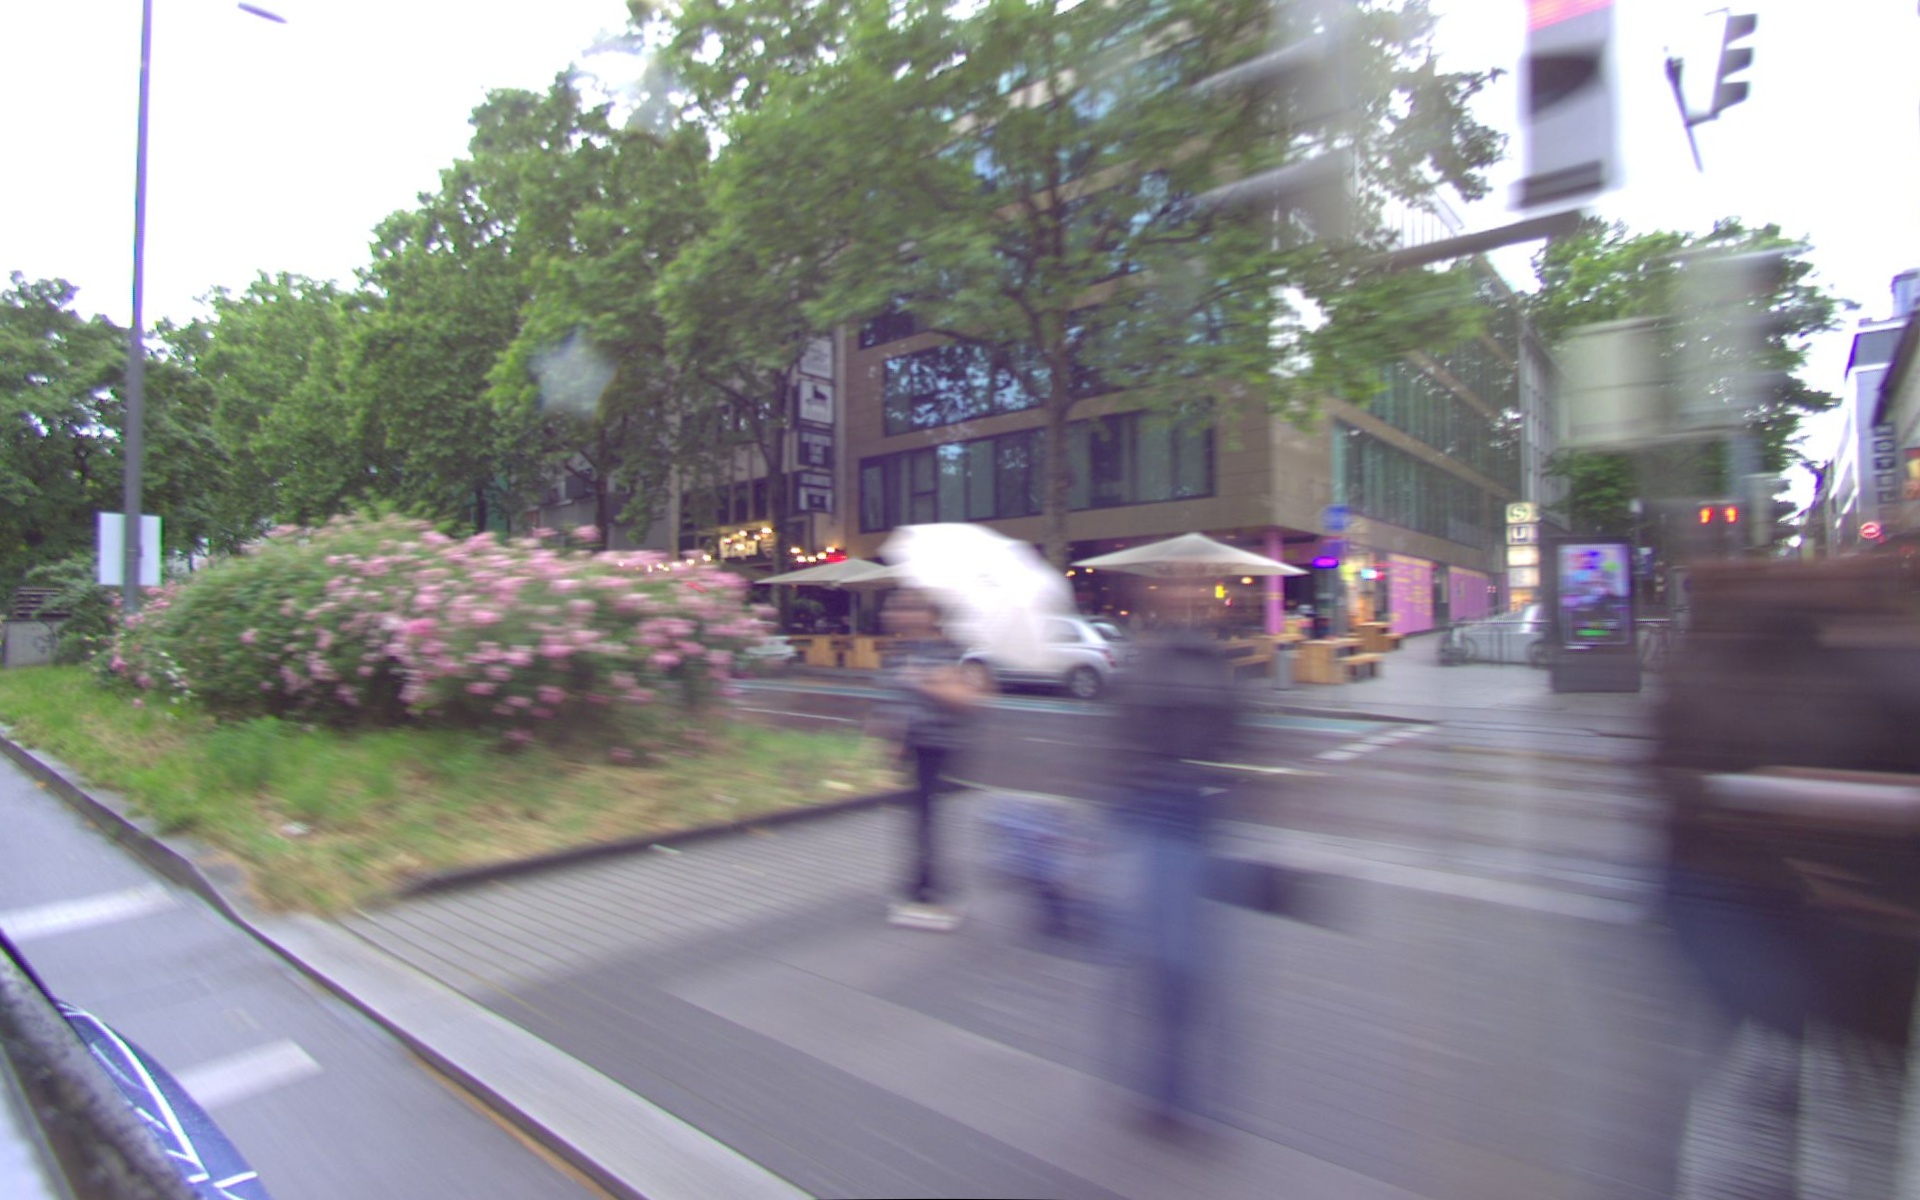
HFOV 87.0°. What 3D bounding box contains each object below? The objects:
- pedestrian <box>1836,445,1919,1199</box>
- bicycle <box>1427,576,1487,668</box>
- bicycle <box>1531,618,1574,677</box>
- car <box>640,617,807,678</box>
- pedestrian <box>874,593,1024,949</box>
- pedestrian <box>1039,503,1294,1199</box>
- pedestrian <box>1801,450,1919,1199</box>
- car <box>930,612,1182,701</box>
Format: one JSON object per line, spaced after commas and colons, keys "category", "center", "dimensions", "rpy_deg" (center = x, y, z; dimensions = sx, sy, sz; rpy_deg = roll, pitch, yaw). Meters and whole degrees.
{"category": "pedestrian", "center": [2.026, 0.574, 2.013], "dimensions": [0.324, 1.733, 0.396], "rpy_deg": [-1, -2, 30]}
{"category": "bicycle", "center": [11.499, 0.493, 23.384], "dimensions": [0.689, 2.029, 2.362], "rpy_deg": [-2, -1, 39]}
{"category": "bicycle", "center": [13.257, 1.036, 22.615], "dimensions": [0.688, 1.256, 2.366], "rpy_deg": [-1, -2, 33]}
{"category": "car", "center": [-6.209, 1.196, 26.282], "dimensions": [4.538, 1.380, 1.973], "rpy_deg": [-2, 0, 42]}
{"category": "pedestrian", "center": [-0.059, 0.728, 4.639], "dimensions": [0.475, 1.500, 0.546], "rpy_deg": [1, -2, -30]}
{"category": "pedestrian", "center": [0.584, 0.607, 2.755], "dimensions": [0.600, 1.654, 0.609], "rpy_deg": [-1, -1, 19]}
{"category": "pedestrian", "center": [1.707, 0.613, 1.584], "dimensions": [0.443, 1.655, 0.624], "rpy_deg": [-1, -2, 27]}
{"category": "car", "center": [1.758, 1.029, 19.409], "dimensions": [4.514, 1.521, 1.973], "rpy_deg": [-2, -2, 40]}
